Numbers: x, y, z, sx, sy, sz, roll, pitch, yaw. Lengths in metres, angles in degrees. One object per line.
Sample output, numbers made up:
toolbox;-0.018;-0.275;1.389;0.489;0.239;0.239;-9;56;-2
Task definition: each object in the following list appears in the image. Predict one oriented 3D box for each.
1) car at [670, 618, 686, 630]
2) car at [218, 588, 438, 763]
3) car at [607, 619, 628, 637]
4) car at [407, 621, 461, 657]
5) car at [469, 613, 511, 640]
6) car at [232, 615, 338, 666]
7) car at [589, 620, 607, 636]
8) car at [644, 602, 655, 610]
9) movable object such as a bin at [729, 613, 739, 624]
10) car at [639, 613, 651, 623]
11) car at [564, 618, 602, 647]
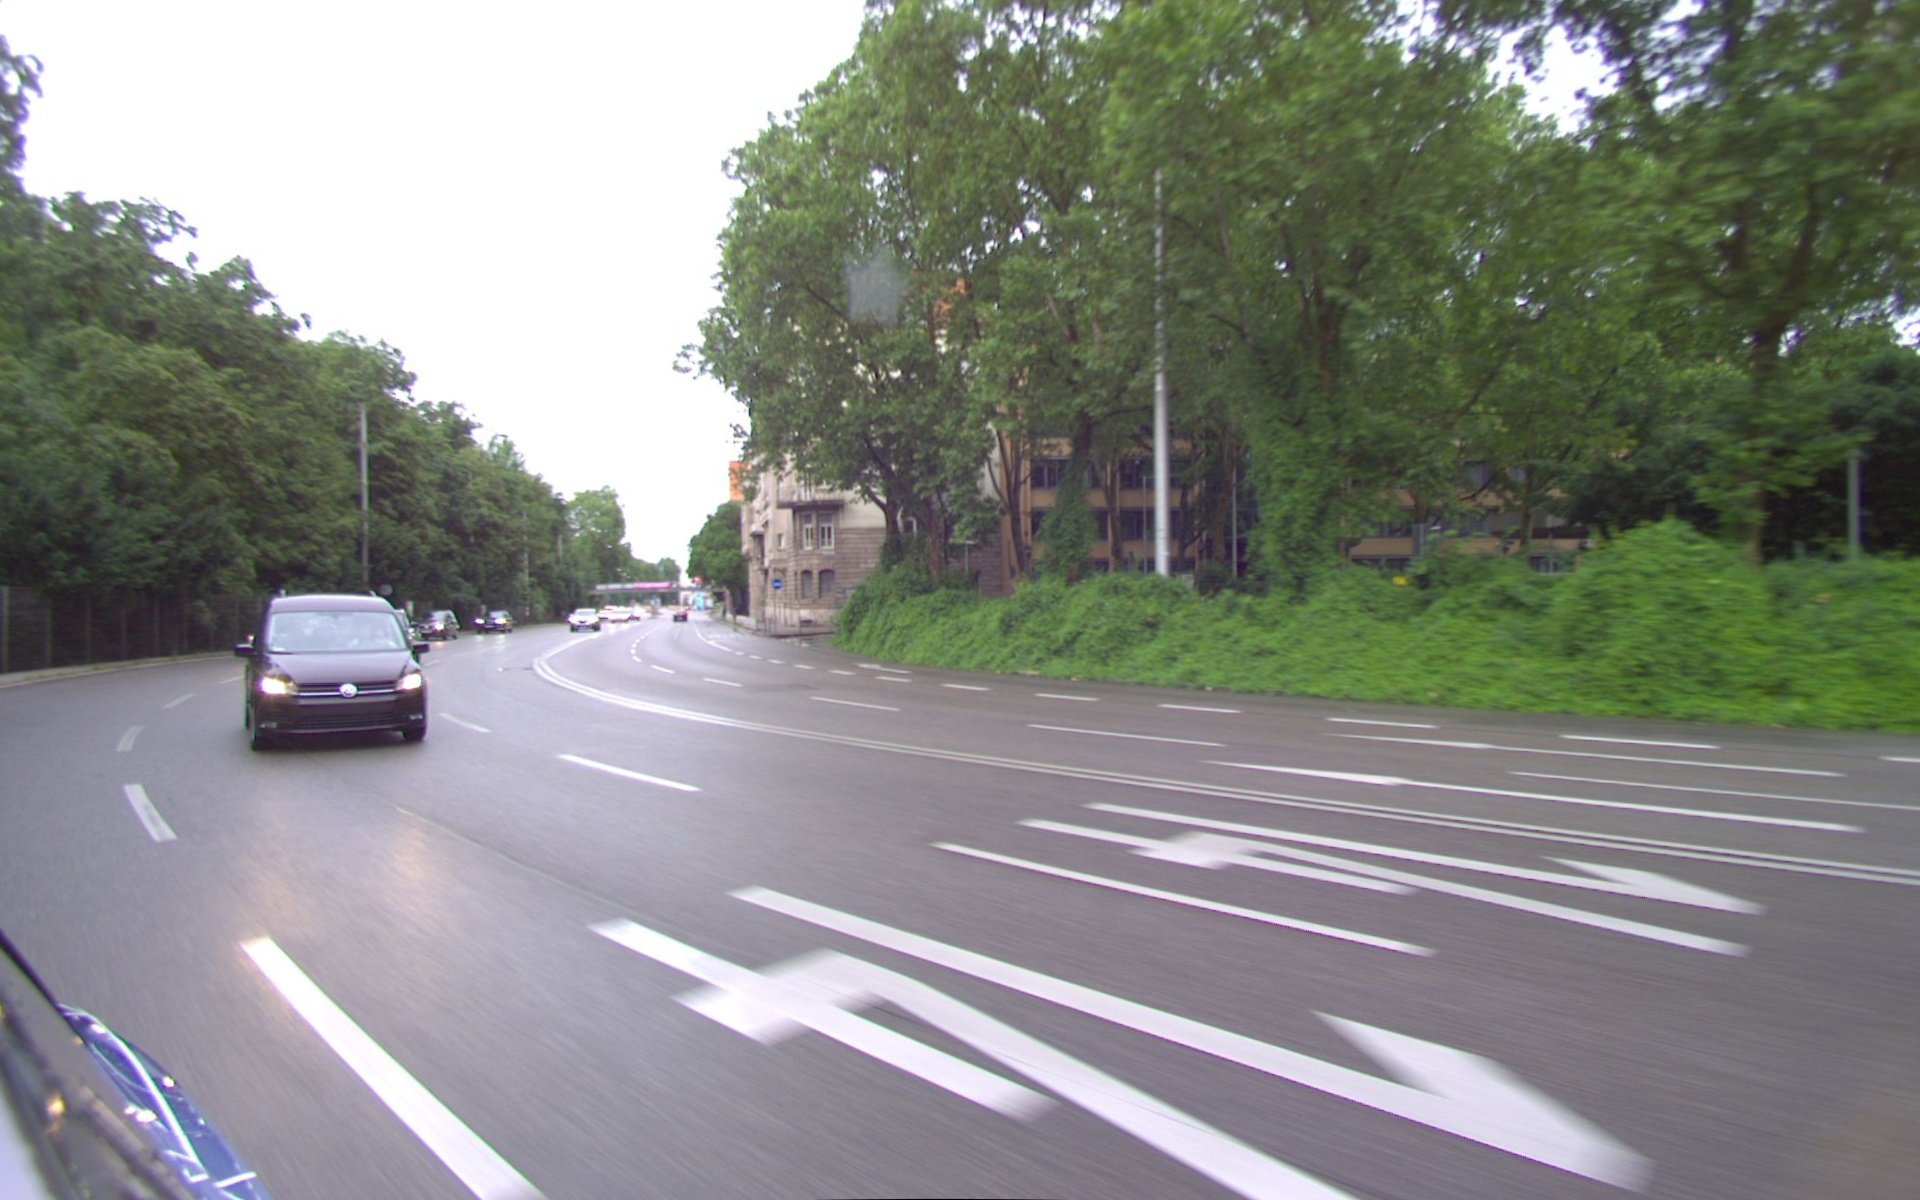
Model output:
car;-33.860;2.906;121.469;1.678;1.349;3.925;-1;-1;-13
car;-7.943;0.825;12.548;1.814;1.804;4.007;1;-2;-39
car;-40.424;3.315;119.376;1.966;1.918;4.011;-3;1;-15
car;-27.166;1.971;52.392;1.772;1.608;4.012;-3;1;-18
car;-31.985;1.763;68.945;1.773;1.608;4.011;-3;1;-14
car;-21.501;1.255;32.398;1.703;1.450;4.012;-2;0;-17
car;-46.510;3.543;129.968;1.848;1.785;4.012;-3;1;-16
car;-62.731;1.221;204.552;1.795;1.624;4.011;-3;1;-13
movable object such as a bin;-32.555;2.637;145.814;1.053;1.447;1.377;-3;0;-21
car;-57.628;3.259;184.974;1.848;1.785;4.012;-3;1;-16
car;-26.750;2.252;71.814;1.676;1.811;3.809;-3;1;-8
